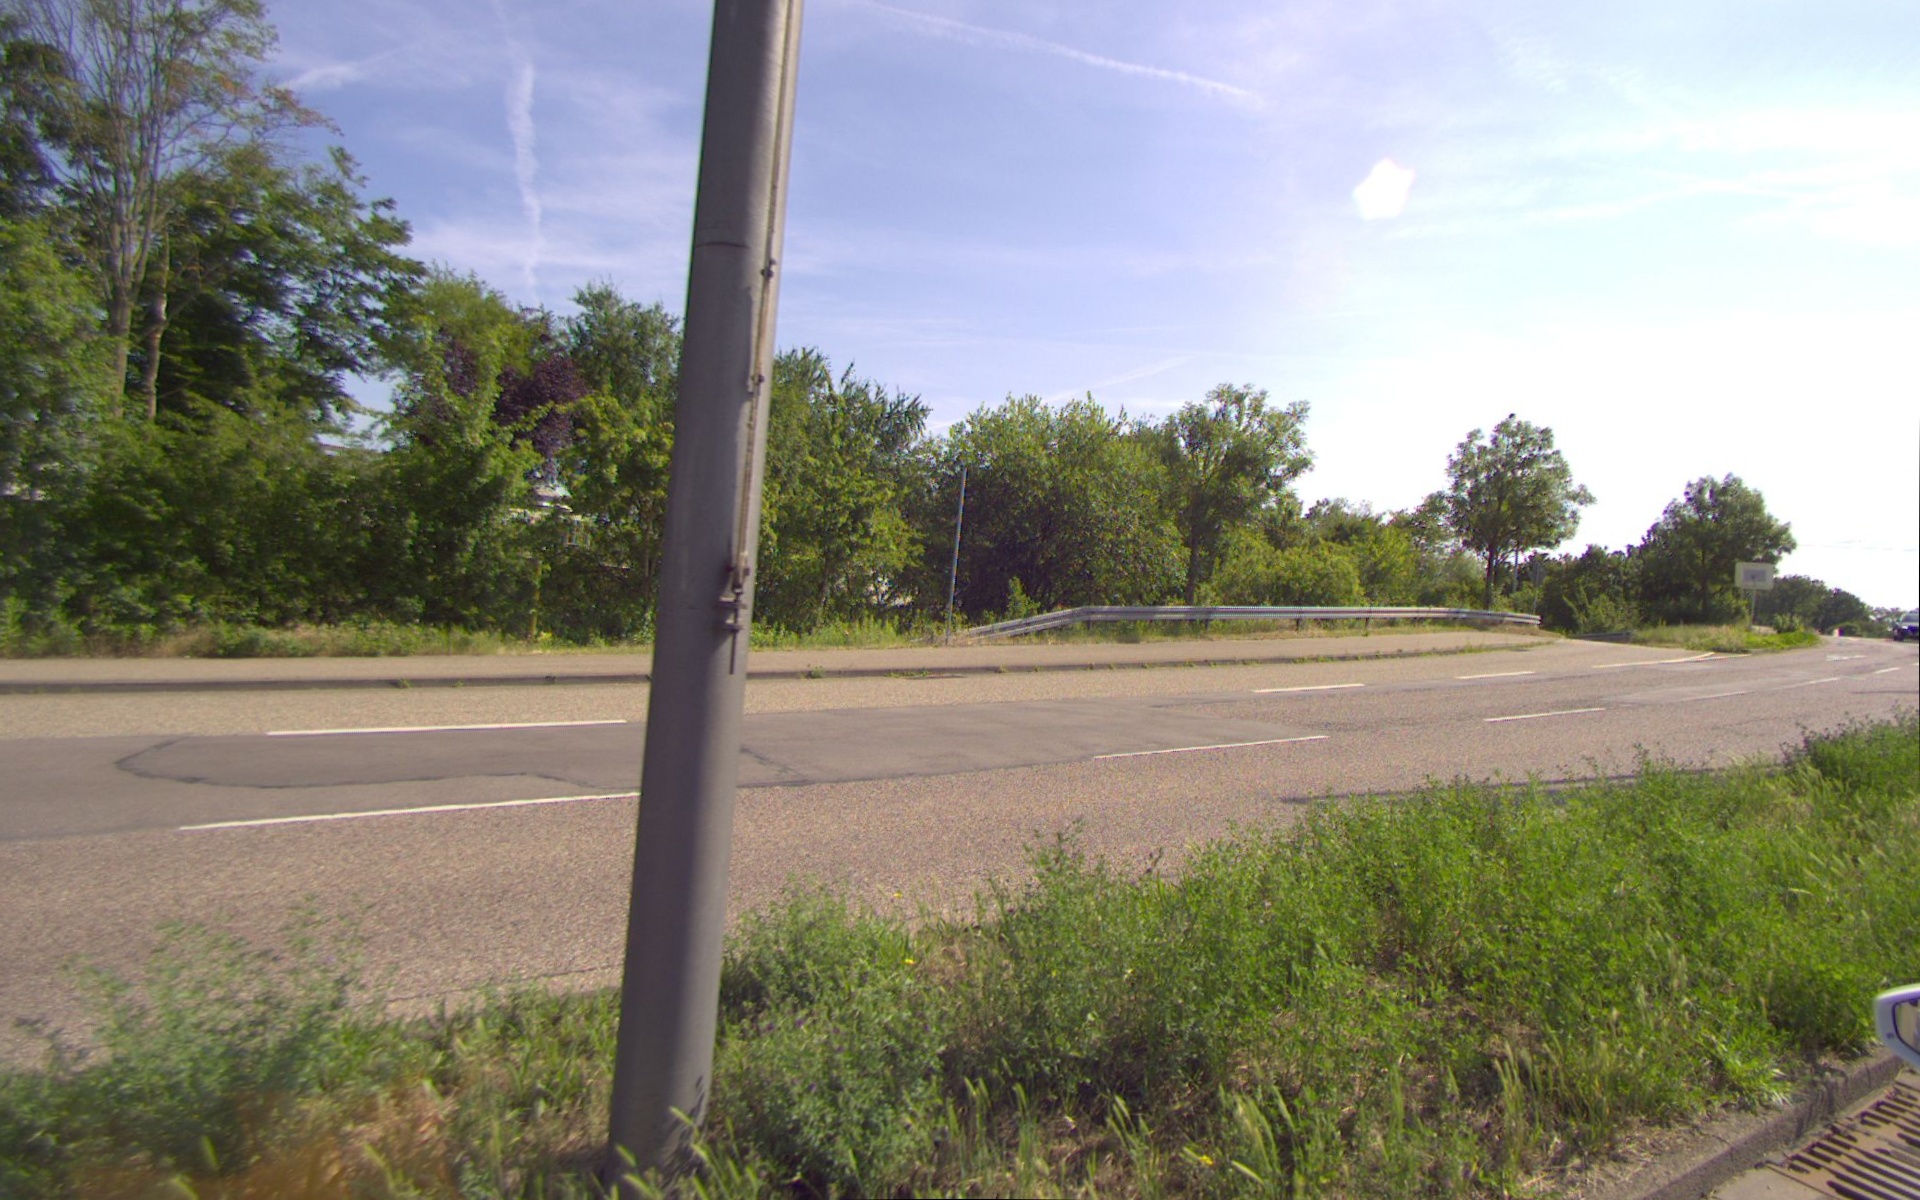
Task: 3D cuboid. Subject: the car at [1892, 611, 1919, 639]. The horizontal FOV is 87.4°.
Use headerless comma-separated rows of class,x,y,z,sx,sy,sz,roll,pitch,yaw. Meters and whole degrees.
car,53.100,1.373,55.736,1.762,1.505,4.239,1,1,40
